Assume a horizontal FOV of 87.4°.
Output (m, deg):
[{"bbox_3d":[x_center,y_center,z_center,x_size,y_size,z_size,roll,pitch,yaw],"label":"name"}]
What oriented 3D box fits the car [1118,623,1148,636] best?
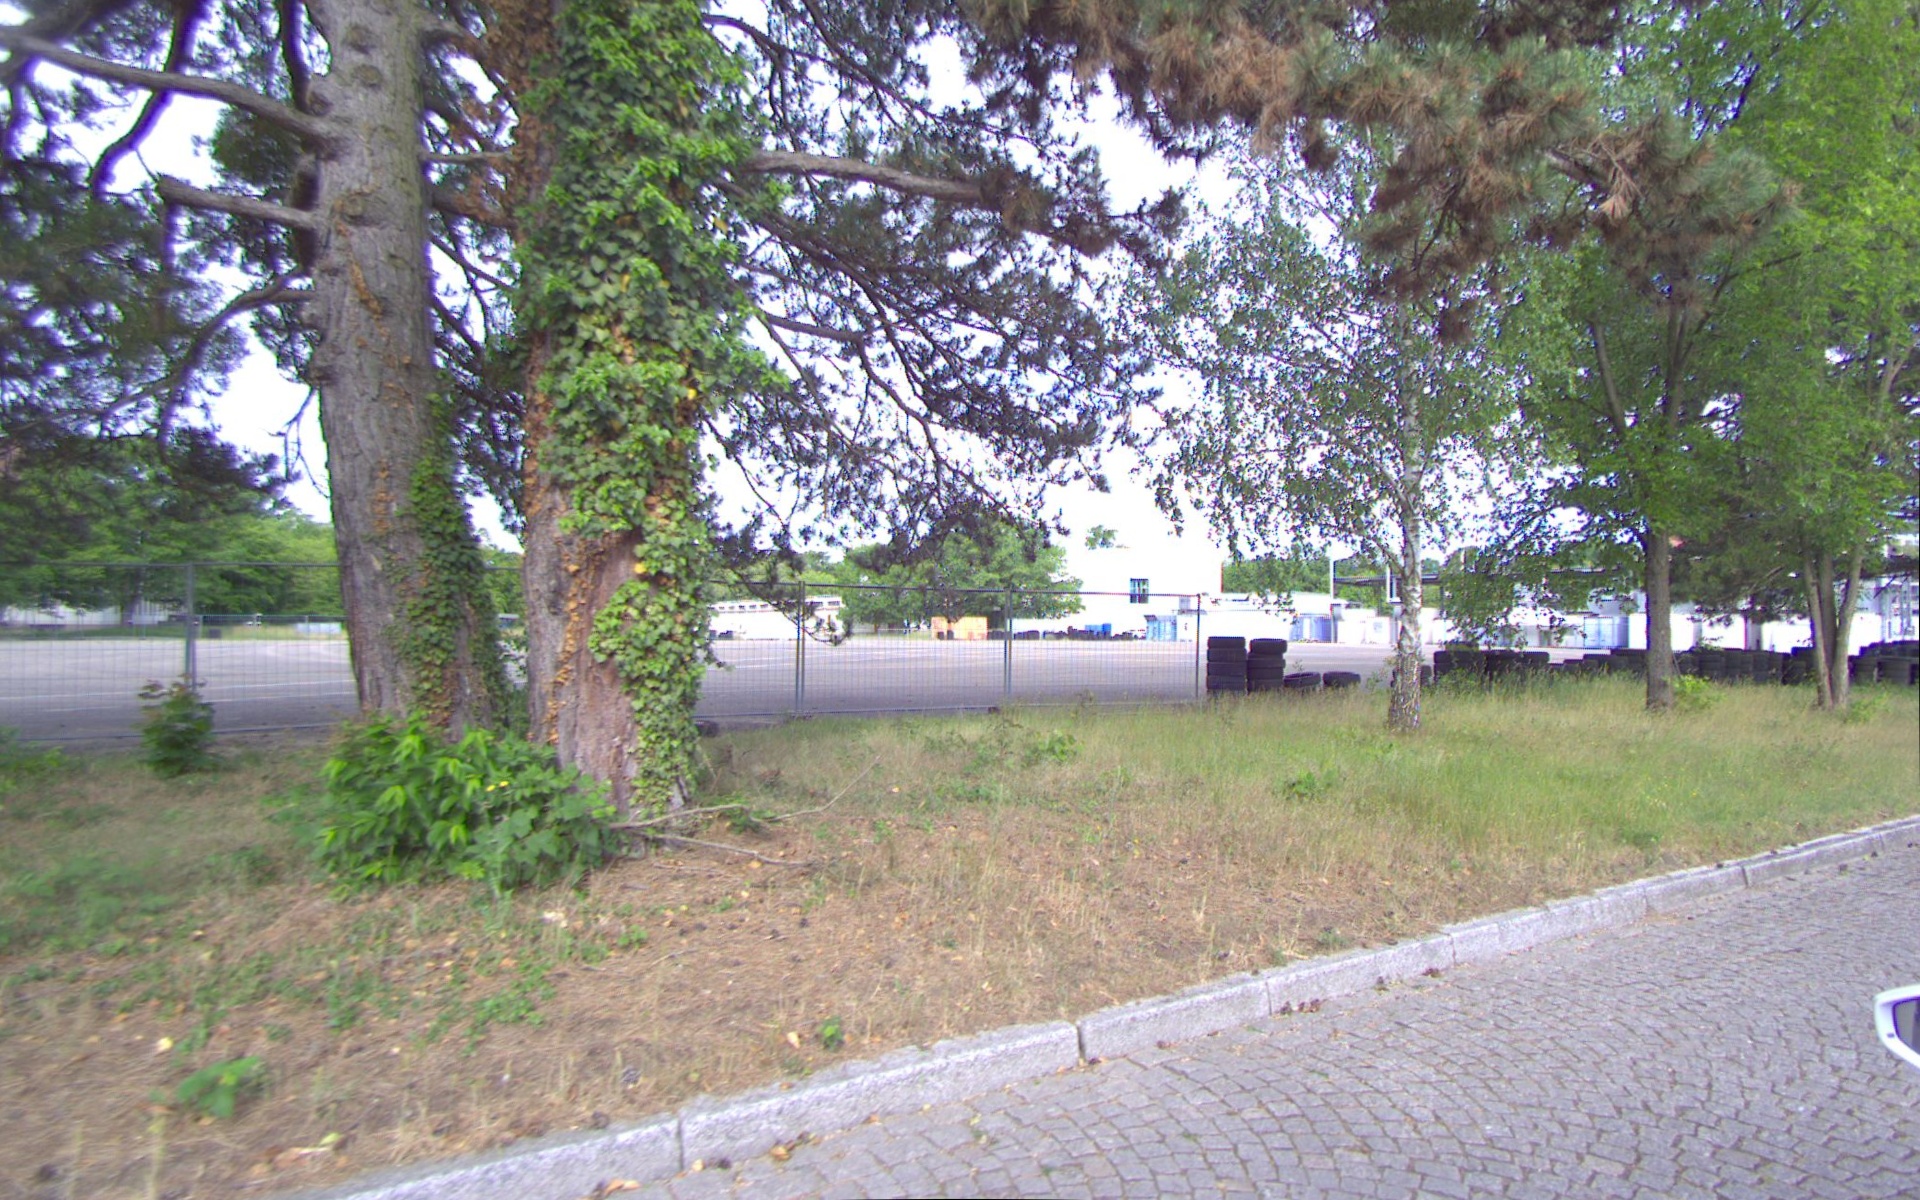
[{"bbox_3d":[23.123,3.904,134.192,1.808,1.655,4.087,1,-1,-29],"label":"car"}]
